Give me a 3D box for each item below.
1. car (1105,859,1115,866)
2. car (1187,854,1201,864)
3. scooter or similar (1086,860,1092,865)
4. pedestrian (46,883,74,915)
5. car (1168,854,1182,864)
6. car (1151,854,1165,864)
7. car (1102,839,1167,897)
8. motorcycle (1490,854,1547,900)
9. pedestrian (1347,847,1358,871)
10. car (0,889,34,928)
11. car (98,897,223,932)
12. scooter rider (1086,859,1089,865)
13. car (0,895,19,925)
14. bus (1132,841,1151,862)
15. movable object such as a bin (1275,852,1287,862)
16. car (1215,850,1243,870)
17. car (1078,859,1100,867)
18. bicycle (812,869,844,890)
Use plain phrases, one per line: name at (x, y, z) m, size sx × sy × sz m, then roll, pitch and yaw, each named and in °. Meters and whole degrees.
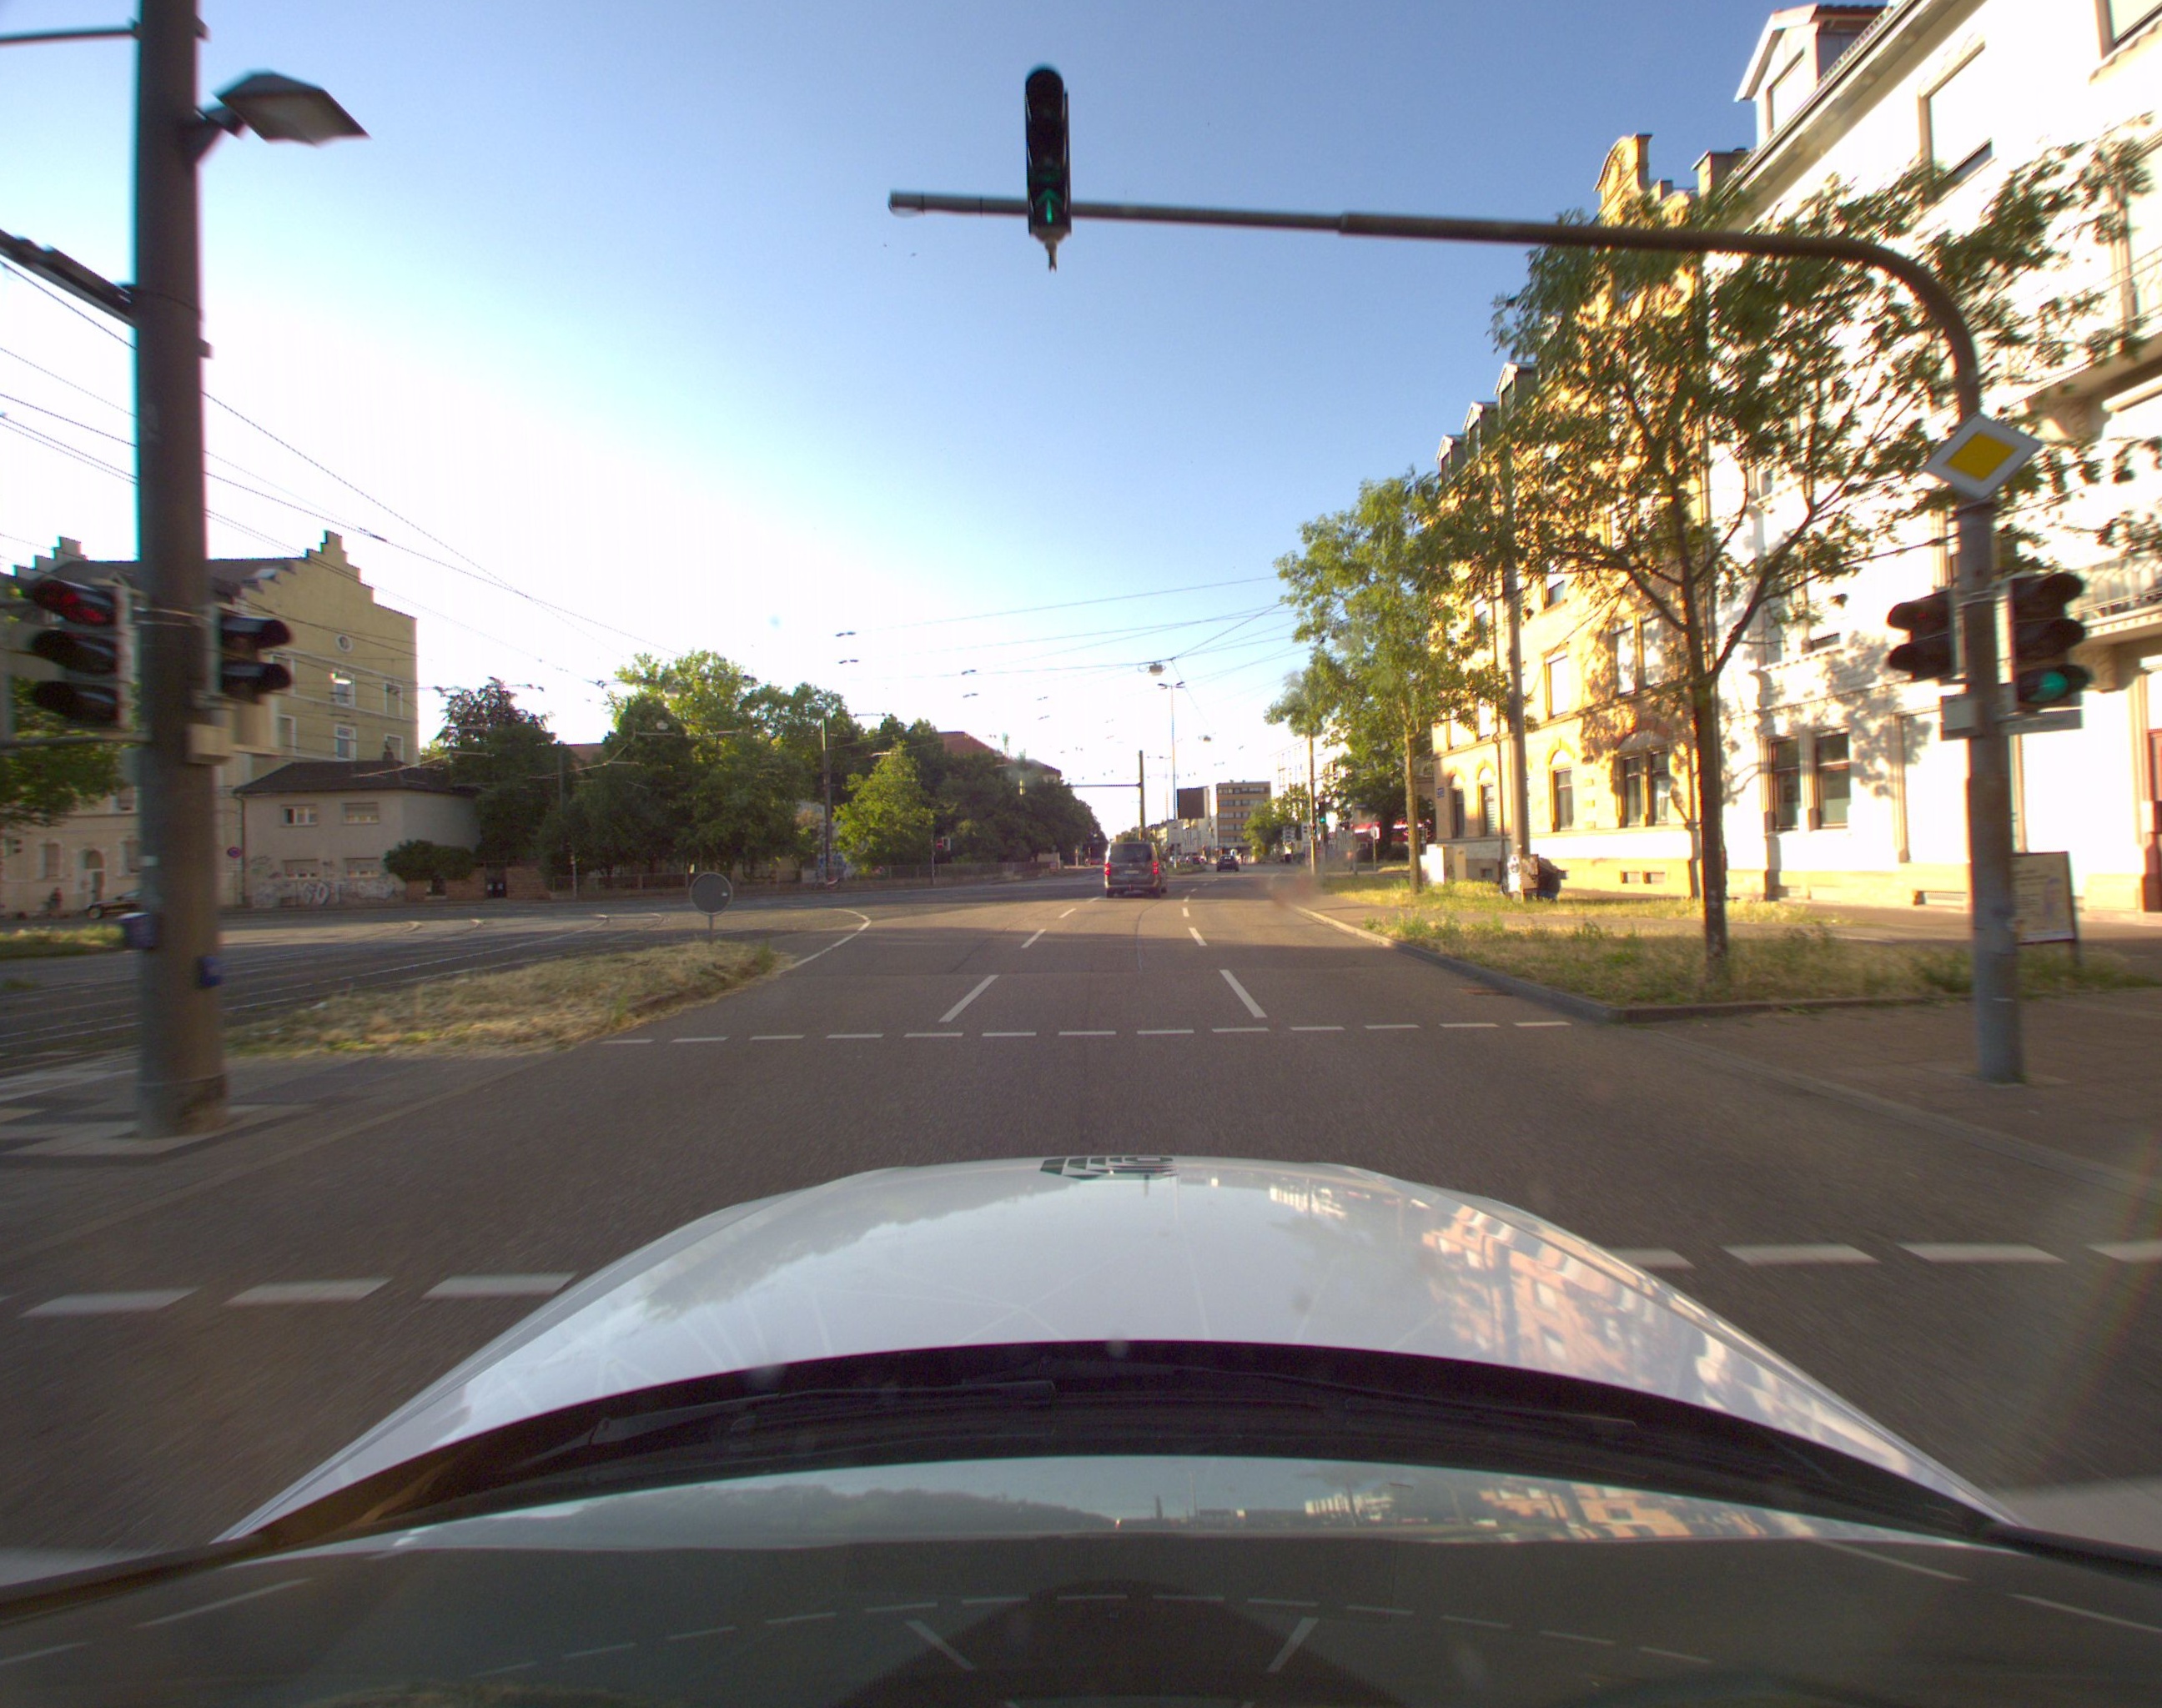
car at (6.987, 2.071, 193.519) m, size 1.983 × 1.595 × 4.008 m, roll -2°, pitch 0°, yaw 7°
car at (19.538, 0.802, 140.963) m, size 1.986 × 1.656 × 4.301 m, roll -2°, pitch 0°, yaw 2°
scooter or similar at (1.532, 1.654, 153.183) m, size 1.099 × 0.976 × 0.557 m, roll 0°, pitch -1°, yaw -10°
pedestrian at (-54.601, 2.402, 43.564) m, size 0.712 × 1.705 × 0.586 m, roll -2°, pitch 0°, yaw -1°
car at (16.866, 0.919, 146.134) m, size 1.988 × 1.656 × 4.296 m, roll -2°, pitch 0°, yaw -2°
car at (13.760, 0.867, 145.374) m, size 1.988 × 1.656 × 4.296 m, roll -2°, pitch 0°, yaw -2°
car at (1.970, 0.475, 28.864) m, size 1.982 × 1.901 × 4.308 m, roll 0°, pitch 0°, yaw 8°
motorcycle at (10.523, 0.529, 19.633) m, size 0.601 × 1.044 × 1.748 m, roll -2°, pitch 0°, yaw 7°
pedestrian at (18.799, 0.319, 56.434) m, size 0.549 × 1.629 × 0.701 m, roll -2°, pitch -1°, yaw 10°
car at (-43.926, 2.207, 31.517) m, size 3.978 × 1.486 × 1.998 m, roll -2°, pitch 0°, yaw -4°
car at (-46.490, 3.028, 41.206) m, size 3.974 × 1.486 × 2.000 m, roll -2°, pitch 0°, yaw -1°
scooter rider at (1.305, 1.546, 153.153) m, size 0.509 × 1.036 × 0.445 m, roll 0°, pitch -1°, yaw -10°
car at (-56.733, 2.930, 41.073) m, size 3.971 × 1.486 × 1.845 m, roll -2°, pitch 0°, yaw 2°
bus at (13.853, -0.493, 187.289) m, size 3.282 × 4.617 × 9.990 m, roll 0°, pitch -1°, yaw -2°
movable object such as a bin at (29.281, 0.458, 119.147) m, size 1.454 × 1.386 × 1.551 m, roll -2°, pitch 0°, yaw 9°
car at (12.594, 0.483, 69.185) m, size 1.831 × 1.544 × 3.648 m, roll -2°, pitch 0°, yaw 17°
car at (1.685, 1.897, 168.901) m, size 3.997 × 1.595 × 1.988 m, roll -2°, pitch 0°, yaw -17°
bicycle at (-15.185, 1.519, 48.824) m, size 1.731 × 1.142 × 0.552 m, roll -2°, pitch 0°, yaw -42°
